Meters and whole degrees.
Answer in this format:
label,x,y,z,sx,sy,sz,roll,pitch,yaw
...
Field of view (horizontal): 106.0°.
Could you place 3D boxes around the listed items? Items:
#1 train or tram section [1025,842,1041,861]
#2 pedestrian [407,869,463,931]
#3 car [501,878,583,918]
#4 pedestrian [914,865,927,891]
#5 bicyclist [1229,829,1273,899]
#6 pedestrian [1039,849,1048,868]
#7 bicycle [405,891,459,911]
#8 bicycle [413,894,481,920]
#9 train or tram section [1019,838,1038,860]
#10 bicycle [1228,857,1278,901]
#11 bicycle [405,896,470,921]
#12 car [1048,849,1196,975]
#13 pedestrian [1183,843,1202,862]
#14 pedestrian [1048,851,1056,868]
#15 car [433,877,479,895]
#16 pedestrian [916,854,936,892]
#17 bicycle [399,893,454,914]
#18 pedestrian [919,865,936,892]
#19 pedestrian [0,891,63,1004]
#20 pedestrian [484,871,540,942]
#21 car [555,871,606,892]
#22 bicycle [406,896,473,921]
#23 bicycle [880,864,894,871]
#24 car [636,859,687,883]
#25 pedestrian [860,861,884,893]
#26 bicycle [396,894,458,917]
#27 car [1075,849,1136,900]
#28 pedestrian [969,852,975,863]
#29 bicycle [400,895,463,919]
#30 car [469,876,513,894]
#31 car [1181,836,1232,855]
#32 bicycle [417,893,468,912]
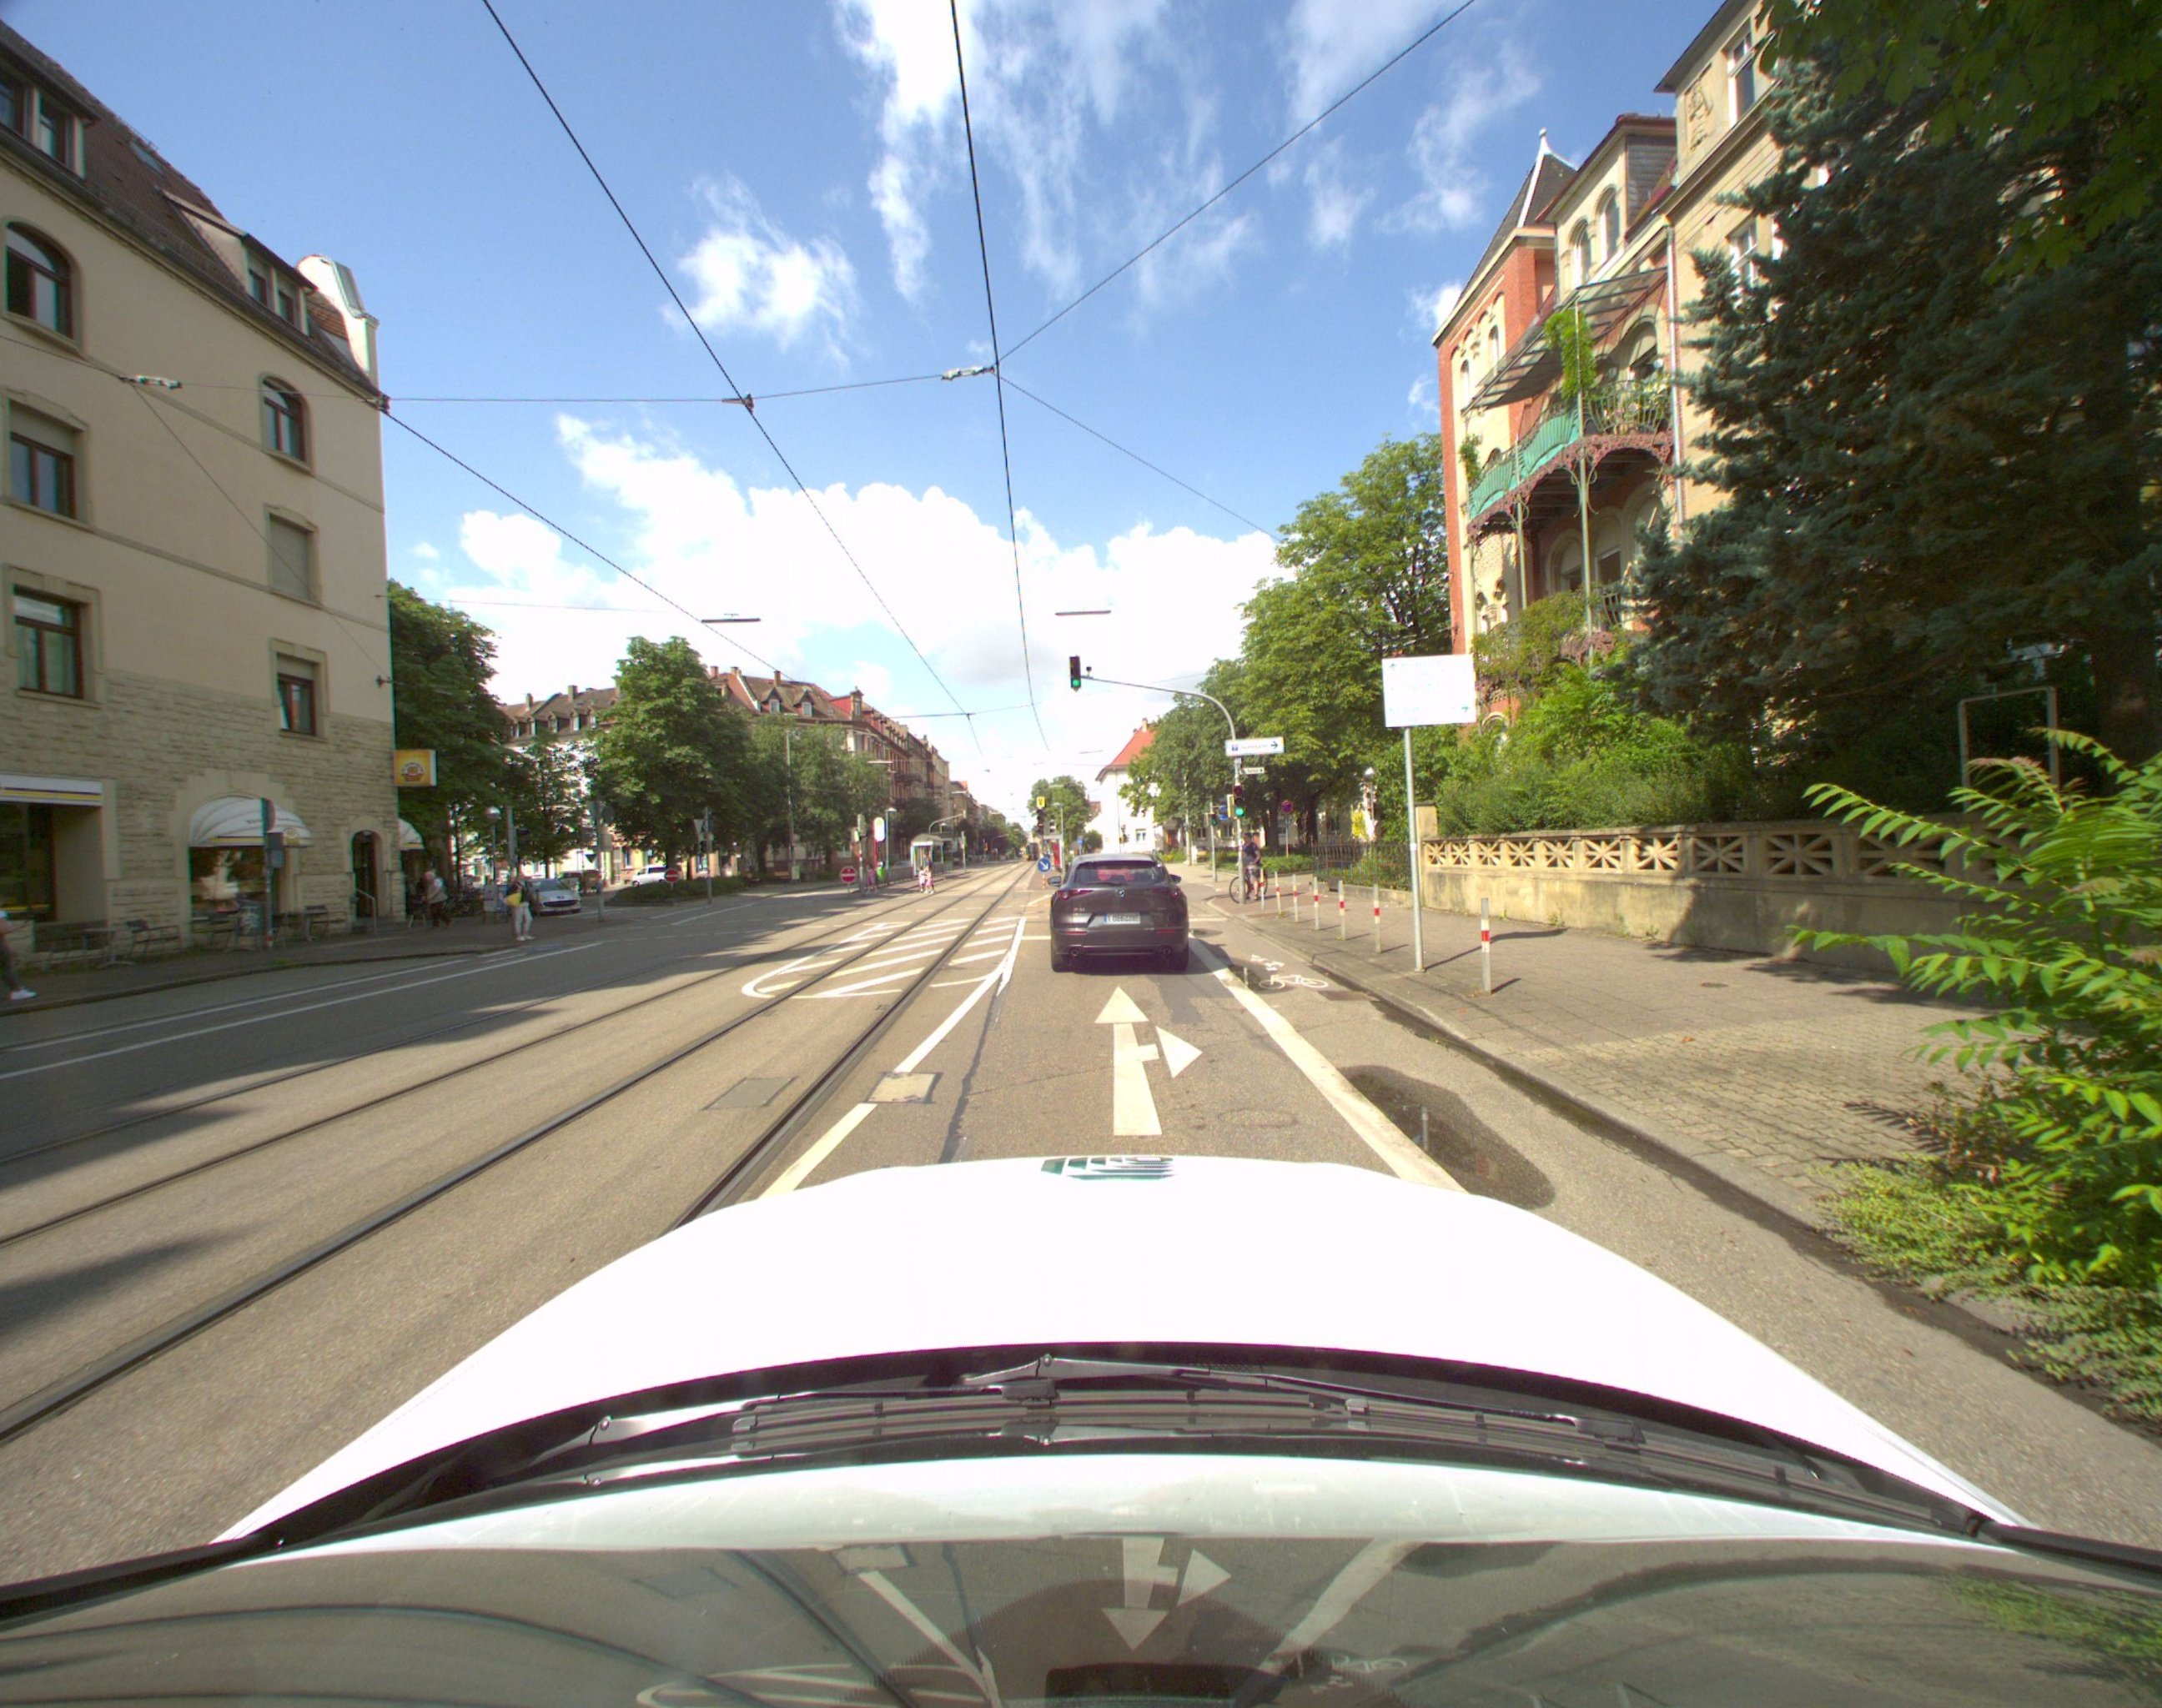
label,x,y,z,sx,sy,sz,roll,pitch,yaw
train or tram section,-10.906,-0.488,187.181,2.989,3.983,13.800,-3,-1,-1
pedestrian,-18.270,1.294,23.049,0.849,1.672,0.825,-3,0,12
car,-21.626,1.732,32.647,3.823,1.420,1.732,-3,0,41
pedestrian,-7.011,1.040,35.484,0.437,1.108,0.422,-5,0,-7
bicyclist,4.556,0.266,21.868,0.736,1.819,0.814,-3,0,-25
pedestrian,-3.490,0.423,75.589,0.769,1.674,0.667,-3,0,-3
bicycle,-32.215,2.313,40.443,2.040,0.898,0.566,-1,-1,-36
bicycle,-24.758,2.065,31.846,0.516,0.882,2.043,-3,-1,44
train or tram section,-10.272,-0.927,159.586,2.989,3.983,13.800,-3,-1,-1
bicycle,4.652,0.659,21.965,0.385,1.035,1.857,-3,1,42
bicycle,-26.557,2.234,33.652,0.505,0.882,2.043,-3,-1,44
car,0.554,0.703,11.855,1.775,1.514,4.002,-1,0,2
pedestrian,8.300,-0.096,60.590,1.191,1.269,0.556,-5,0,-8
pedestrian,-2.668,0.482,73.993,0.666,1.546,0.580,-3,0,-3
car,-62.129,3.143,80.966,3.875,1.555,1.726,-3,0,19
pedestrian,-6.637,0.799,34.940,0.727,1.565,0.797,-3,0,-7
bicycle,-31.584,2.391,39.359,2.040,0.898,0.540,-1,-1,-37
pedestrian,-6.480,1.021,34.334,0.640,1.114,0.442,-3,0,-7
pedestrian,-15.593,1.331,11.714,0.694,1.541,0.959,1,0,-12
pedestrian,-14.200,1.301,20.346,0.754,1.704,0.873,1,0,-3
car,-47.061,2.578,76.585,3.895,1.663,1.926,-3,0,20
bicycle,-25.751,2.175,32.731,0.505,0.882,2.043,-3,-1,44
bicycle,-20.971,1.453,88.084,0.381,0.747,1.722,-3,0,33
car,-37.789,1.520,73.326,3.901,1.988,1.866,-2,0,21
pedestrian,-9.092,0.987,35.454,0.825,1.303,0.715,-5,0,-7
bicycle,-28.710,2.261,35.787,0.539,0.882,2.043,-3,-1,44
car,0.727,0.596,26.103,1.770,1.464,3.841,-1,0,0
pedestrian,-16.904,0.576,125.999,0.785,1.688,0.732,-3,0,-1
bicycle,-27.535,2.252,34.563,0.505,0.882,2.043,-3,-1,44
car,-57.586,3.040,79.478,3.606,1.493,1.638,-3,0,18
car,11.368,-0.786,73.739,4.118,1.509,1.864,-2,2,40
bicycle,-33.793,2.540,43.118,2.037,0.898,0.566,-1,-1,-30
